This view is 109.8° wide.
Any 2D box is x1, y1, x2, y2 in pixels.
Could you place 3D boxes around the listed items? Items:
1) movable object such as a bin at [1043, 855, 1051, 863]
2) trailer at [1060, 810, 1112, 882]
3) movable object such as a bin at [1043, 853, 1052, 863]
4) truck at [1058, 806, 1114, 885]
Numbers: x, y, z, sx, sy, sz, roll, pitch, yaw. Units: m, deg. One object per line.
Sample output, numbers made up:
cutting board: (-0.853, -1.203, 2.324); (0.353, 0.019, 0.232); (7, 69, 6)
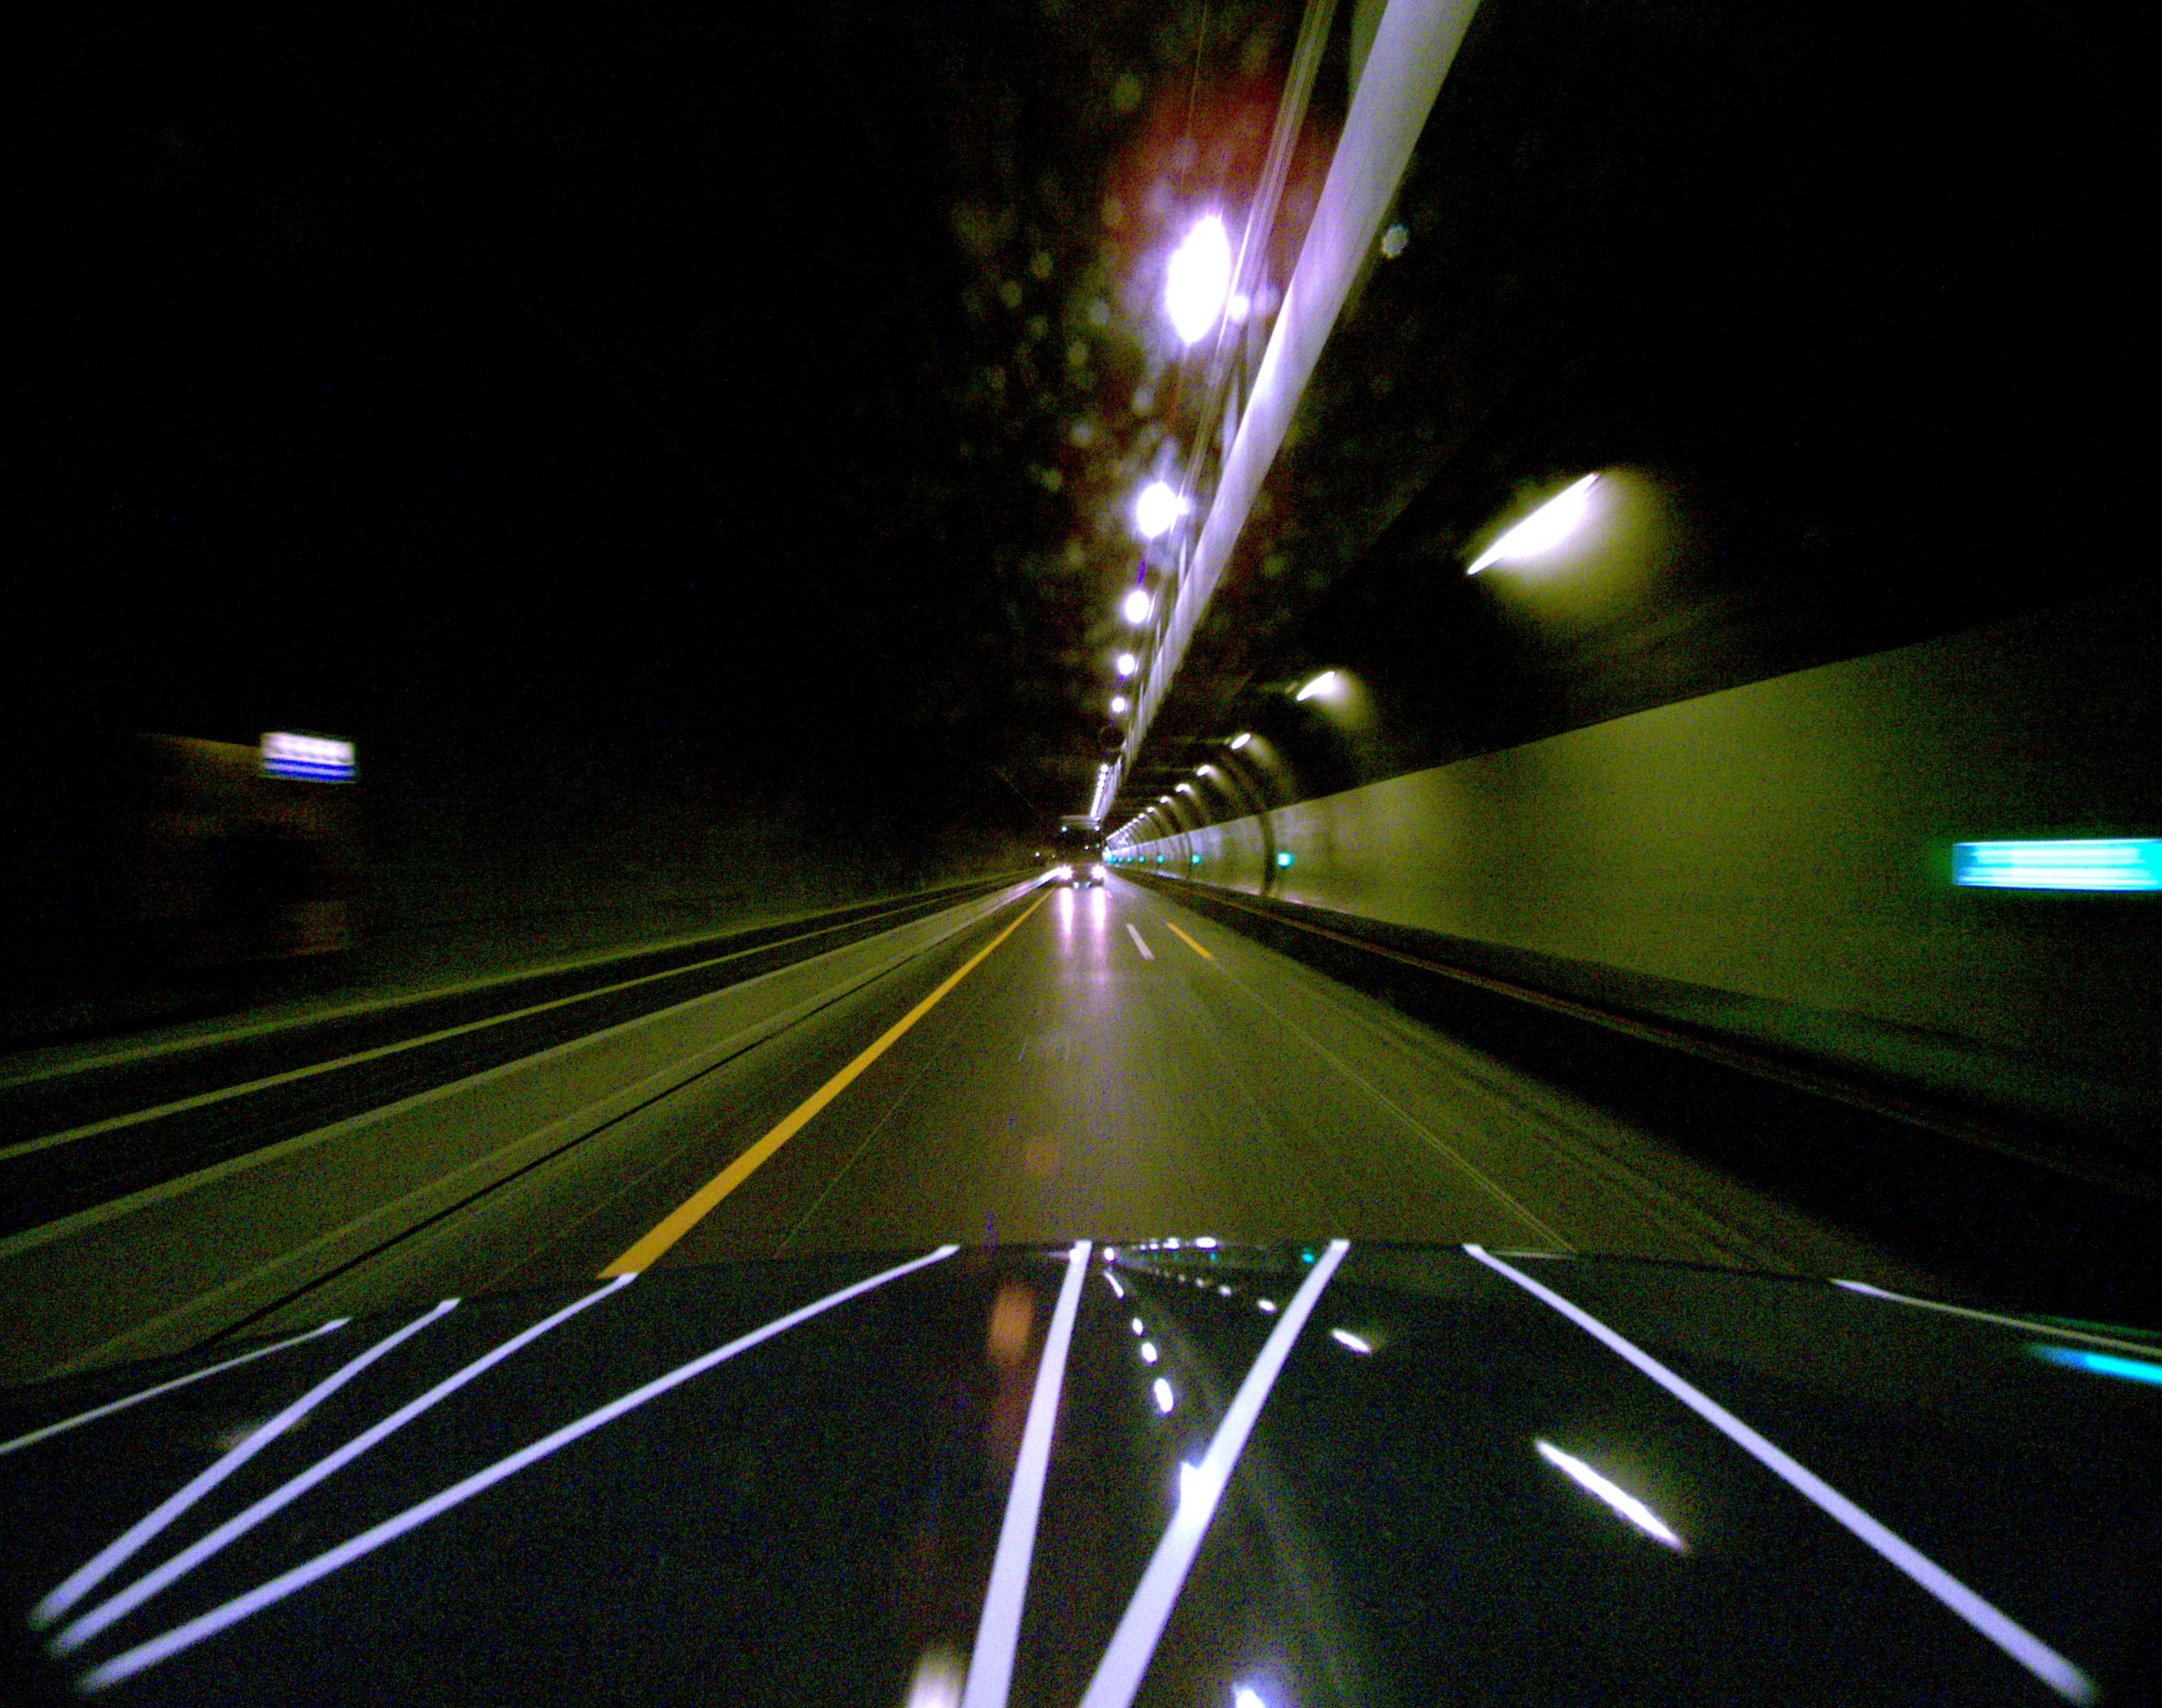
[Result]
movable object such as a bin: (-7.994, 1.196, 178.511); (1.560, 1.699, 3.054); (-3, 1, -1)
trailer: (0.308, -0.524, 51.348); (2.940, 4.316, 10.051); (-3, 0, 0)
movable object such as a bin: (-7.580, 0.966, 172.408); (1.688, 2.133, 4.627); (-3, 1, -1)
truck: (0.304, -0.494, 45.981); (2.951, 4.338, 6.674); (-3, 1, 0)
